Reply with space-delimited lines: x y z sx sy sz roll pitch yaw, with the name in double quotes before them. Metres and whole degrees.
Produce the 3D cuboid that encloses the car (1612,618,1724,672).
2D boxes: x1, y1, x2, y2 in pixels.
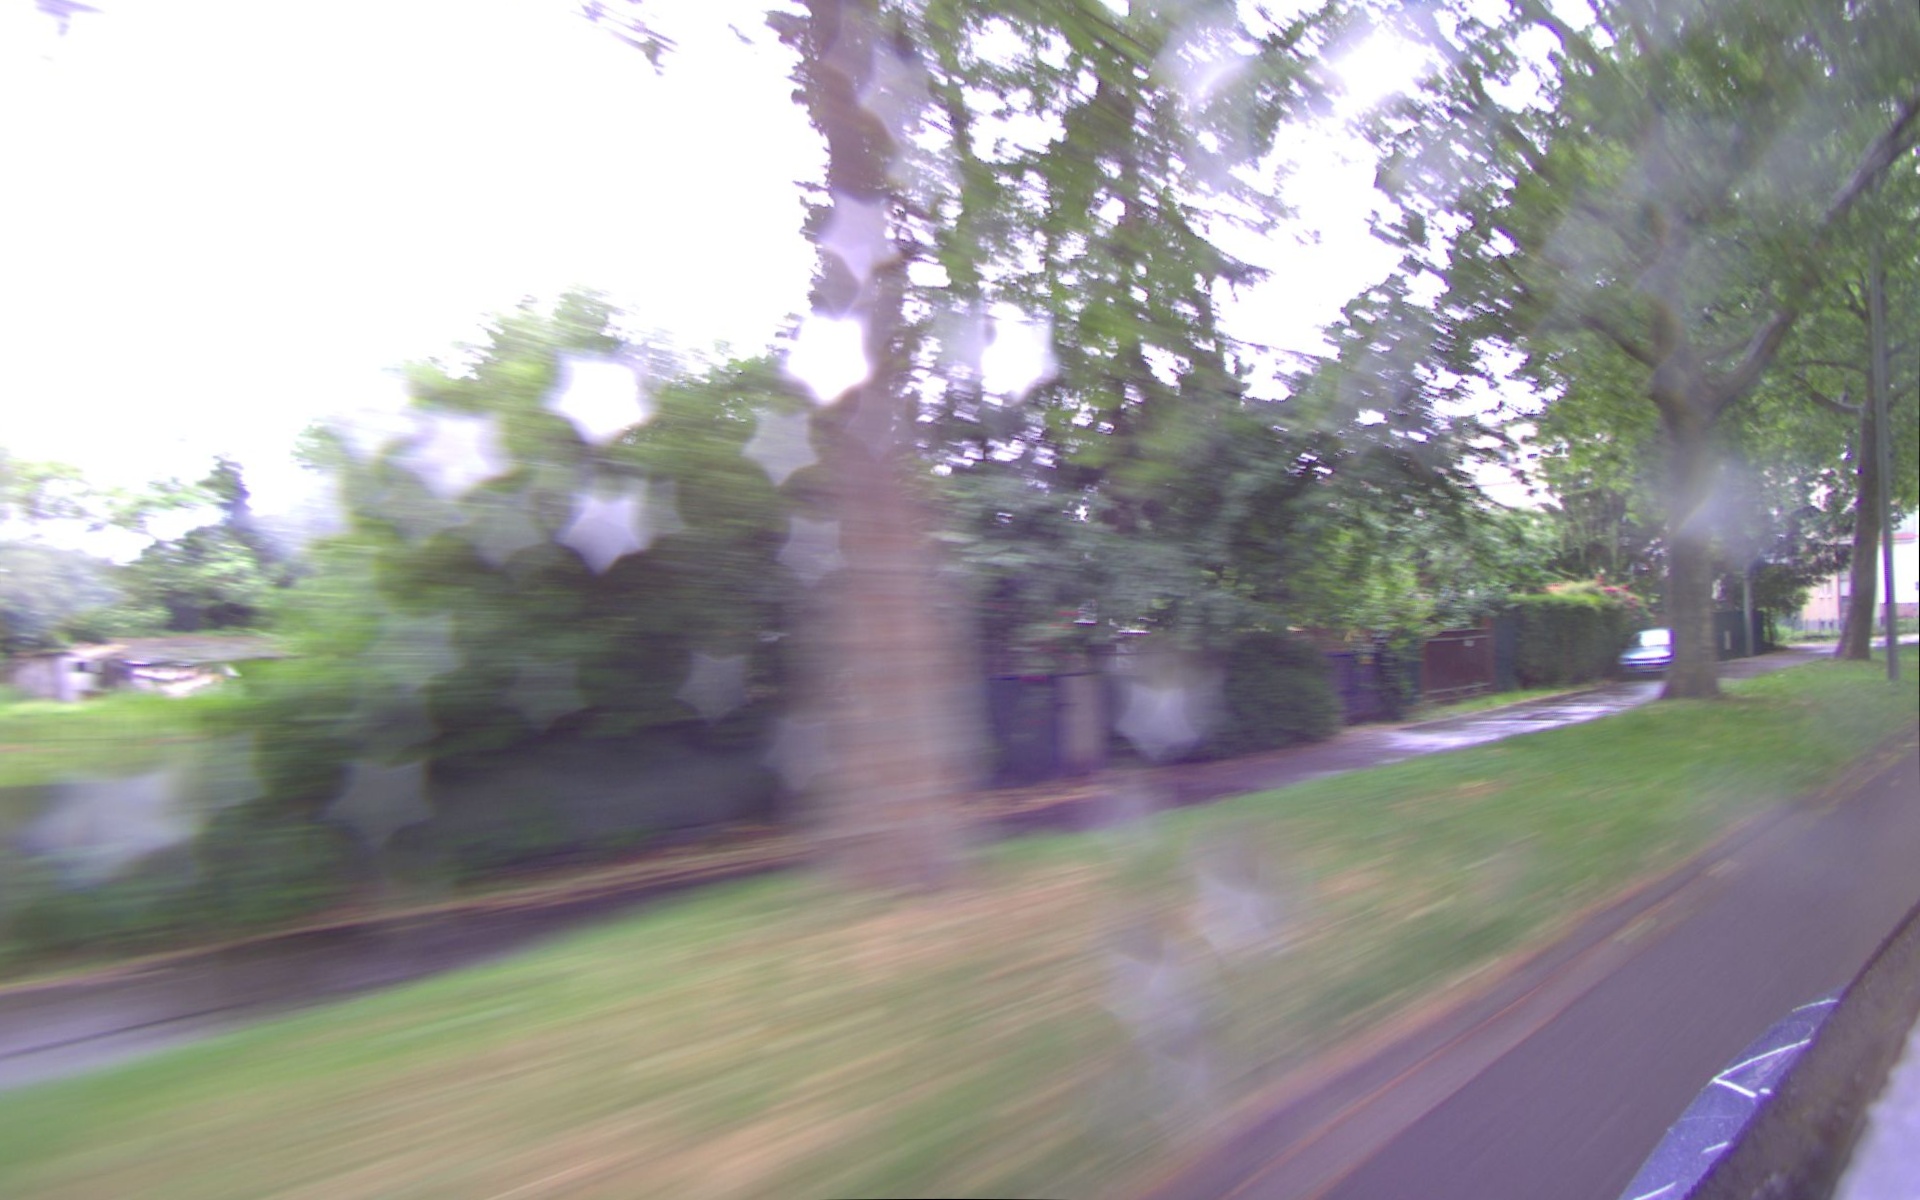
"car" 20.943 1.312 29.888 3.932 1.343 1.797 -1 -5 -43
